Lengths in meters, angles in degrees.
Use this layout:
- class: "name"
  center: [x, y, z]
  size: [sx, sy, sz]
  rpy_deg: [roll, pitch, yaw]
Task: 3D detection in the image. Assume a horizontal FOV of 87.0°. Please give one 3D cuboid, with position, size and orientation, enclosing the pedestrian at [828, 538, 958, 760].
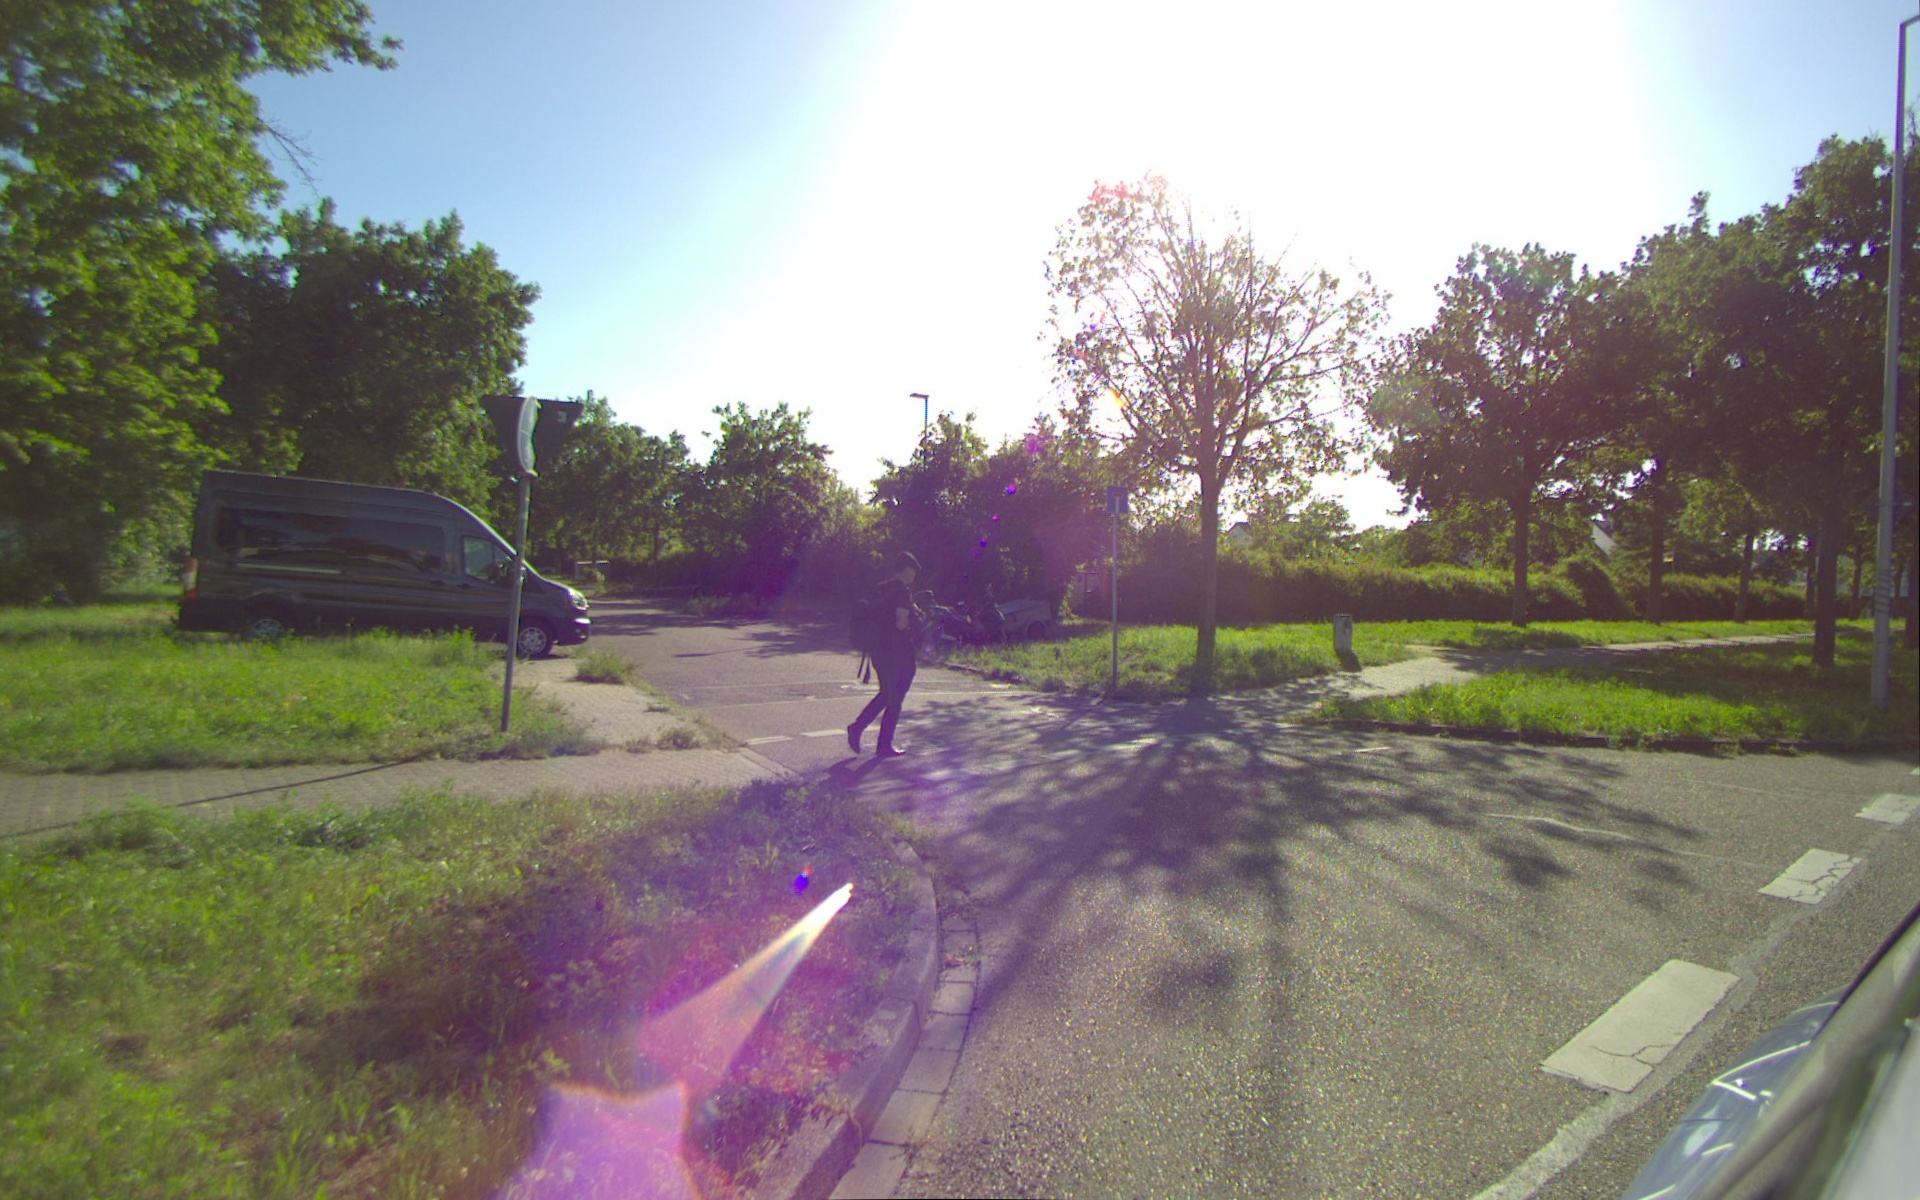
- class: "pedestrian"
  center: [-0.591, 0.389, 8.942]
  size: [0.852, 1.834, 0.727]
  rpy_deg: [0, 2, -41]

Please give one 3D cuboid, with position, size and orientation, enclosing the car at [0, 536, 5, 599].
- class: "car"
  center: [-25.971, -0.821, 24.420]
  size: [3.922, 1.612, 2.001]
  rpy_deg: [1, 2, -33]

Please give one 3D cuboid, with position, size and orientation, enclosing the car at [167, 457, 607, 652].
- class: "car"
  center: [-9.167, -0.594, 16.773]
  size: [5.850, 2.599, 2.094]
  rpy_deg: [4, -2, -29]

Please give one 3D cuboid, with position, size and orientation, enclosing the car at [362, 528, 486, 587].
- class: "car"
  center: [-27.792, -2.145, 52.494]
  size: [5.568, 2.947, 2.343]
  rpy_deg: [0, 1, -31]

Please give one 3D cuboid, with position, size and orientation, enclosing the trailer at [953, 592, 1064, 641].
- class: "trailer"
  center: [1.099, 0.351, 23.201]
  size: [2.014, 0.878, 1.586]
  rpy_deg: [-4, 4, -28]

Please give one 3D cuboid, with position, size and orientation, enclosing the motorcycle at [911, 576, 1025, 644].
- class: "motorcycle"
  center: [0.183, 0.187, 21.317]
  size: [2.359, 1.246, 0.666]
  rpy_deg: [-4, 4, -29]

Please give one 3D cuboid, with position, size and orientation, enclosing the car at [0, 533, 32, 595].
- class: "car"
  center: [-27.134, -1.005, 26.470]
  size: [3.922, 1.612, 2.001]
  rpy_deg: [1, 2, -33]
